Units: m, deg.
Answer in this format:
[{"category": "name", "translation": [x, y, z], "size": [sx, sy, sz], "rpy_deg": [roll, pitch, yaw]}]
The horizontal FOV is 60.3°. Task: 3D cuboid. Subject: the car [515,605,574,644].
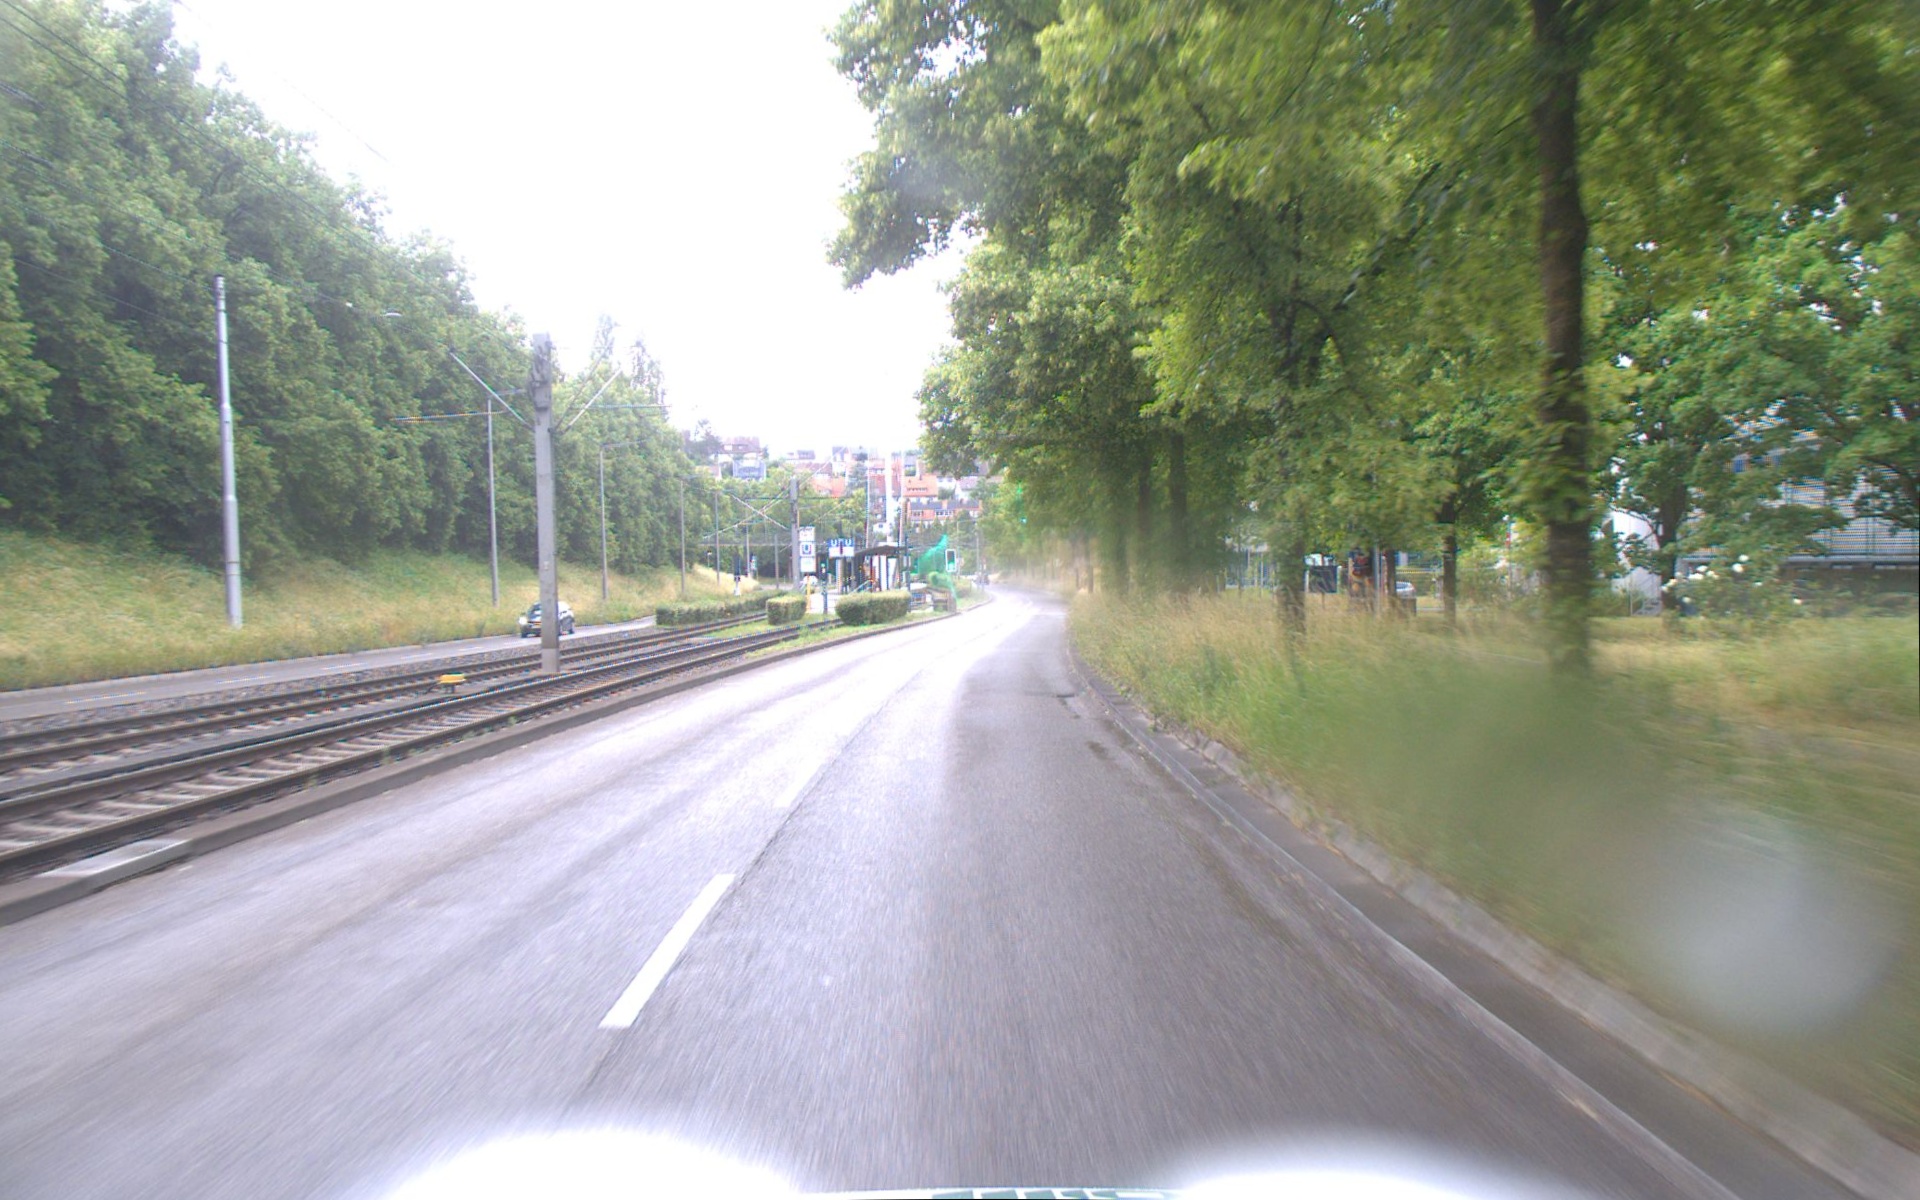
[{"category": "car", "translation": [-18.499, 1.073, 73.737], "size": [1.749, 1.579, 3.958], "rpy_deg": [-3, 0, -3]}]
